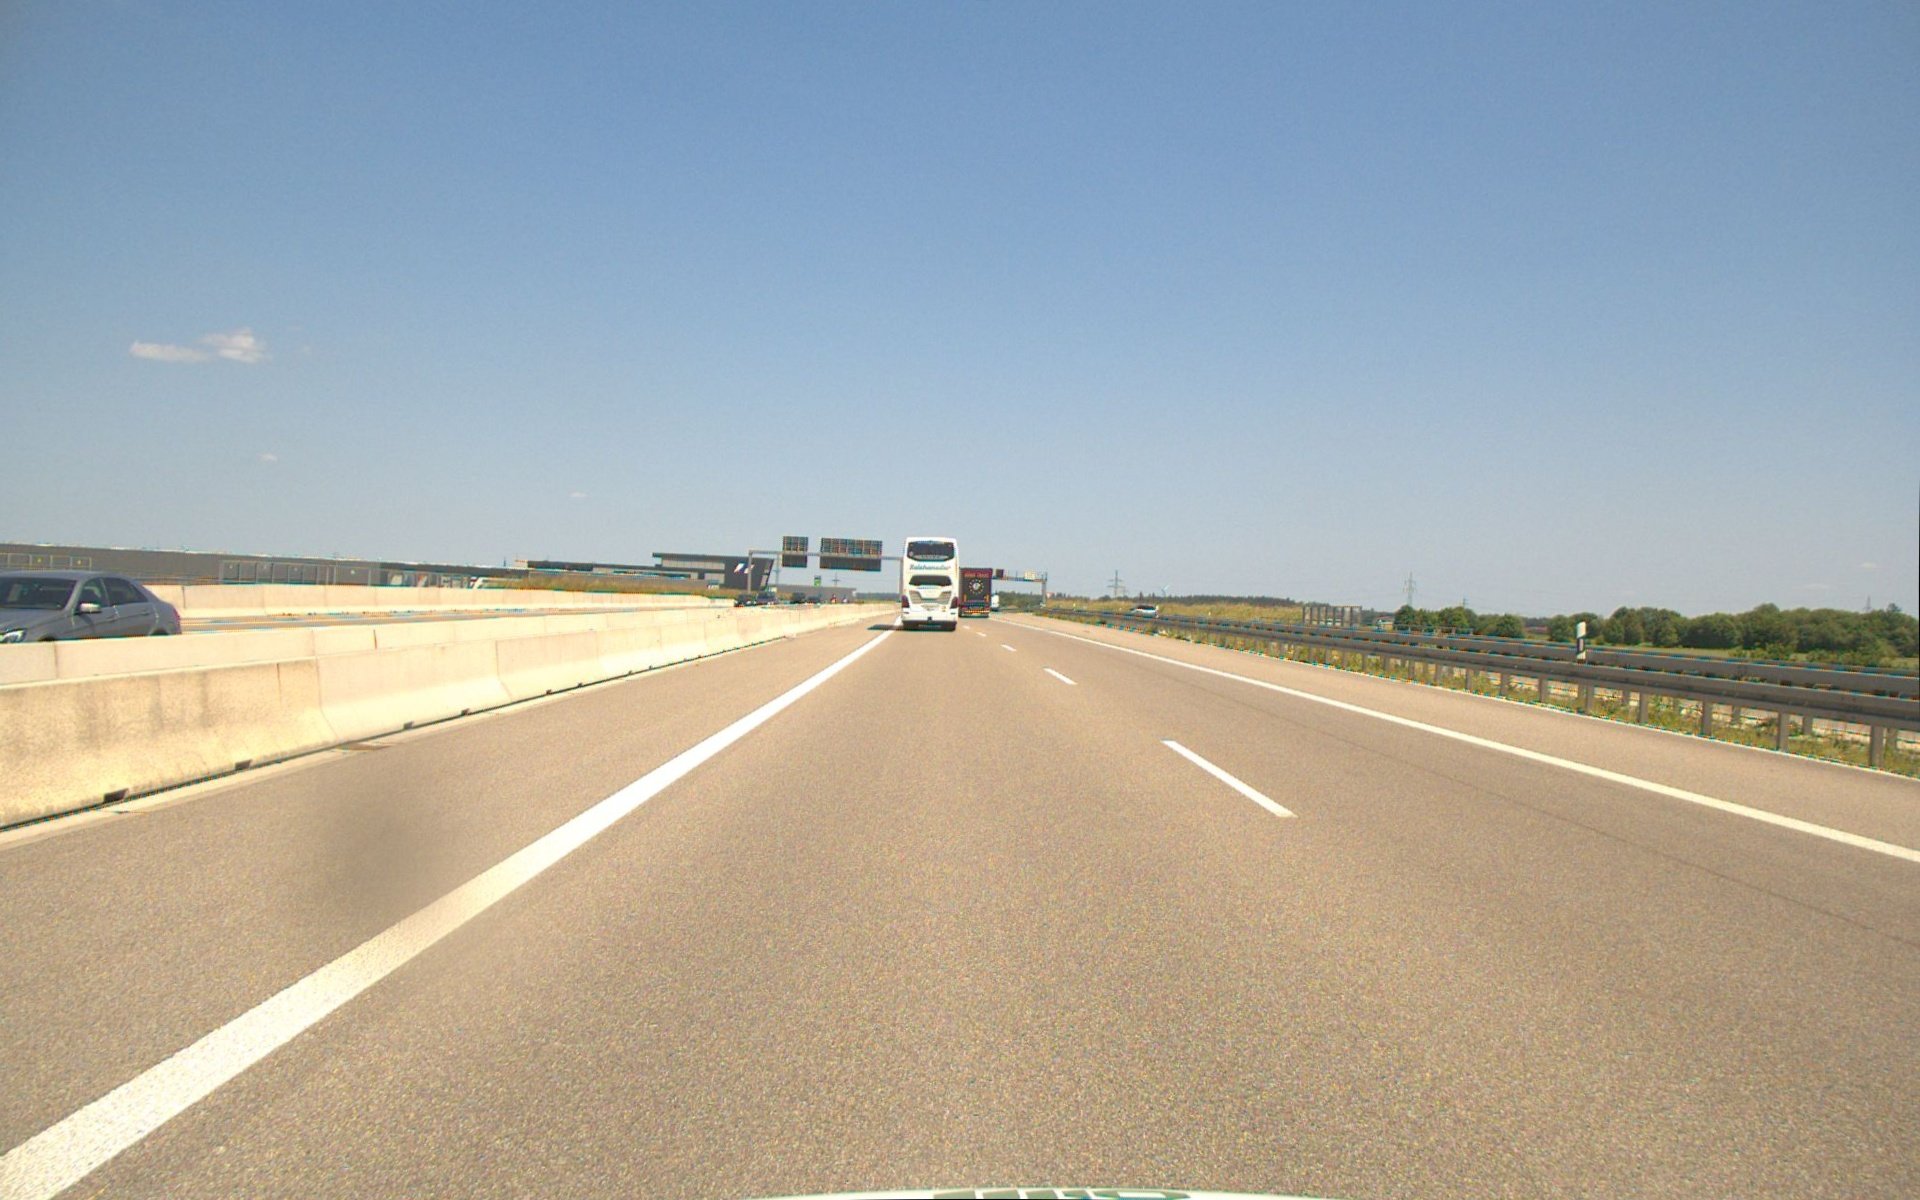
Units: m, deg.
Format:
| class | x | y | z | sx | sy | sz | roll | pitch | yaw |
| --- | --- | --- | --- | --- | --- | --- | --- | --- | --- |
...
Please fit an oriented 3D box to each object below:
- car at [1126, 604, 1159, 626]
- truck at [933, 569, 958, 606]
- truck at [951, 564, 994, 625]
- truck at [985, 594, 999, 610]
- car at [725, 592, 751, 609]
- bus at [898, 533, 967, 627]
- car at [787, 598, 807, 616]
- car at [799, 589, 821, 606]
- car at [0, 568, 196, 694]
| class | x | y | z | sx | sy | sz | roll | pitch | yaw |
| --- | --- | --- | --- | --- | --- | --- | --- | --- | --- |
| car | 13.870 | 1.108 | 126.049 | 1.853 | 1.556 | 4.260 | 1 | 0 | -2 |
| truck | -1.574 | -1.306 | 174.991 | 2.388 | 3.855 | 6.491 | 1 | 0 | -2 |
| truck | 1.134 | -0.366 | 141.112 | 3.310 | 4.542 | 13.566 | 2 | -2 | 1 |
| truck | 5.078 | 0.316 | 259.222 | 1.953 | 2.384 | 4.949 | 1 | 0 | -1 |
| car | -20.121 | 0.047 | 150.142 | 1.871 | 1.485 | 4.283 | 1 | 0 | -2 |
| bus | -1.359 | -0.900 | 76.316 | 2.920 | 4.044 | 9.101 | 1 | 0 | -2 |
| car | -19.554 | 0.849 | 198.695 | 1.846 | 2.053 | 4.734 | 1 | 0 | 0 |
| car | -16.229 | -0.284 | 179.096 | 1.953 | 1.698 | 4.649 | 1 | 0 | 0 |
| car | -11.792 | 0.332 | 21.295 | 1.805 | 1.445 | 4.525 | 1 | 0 | 0 |
